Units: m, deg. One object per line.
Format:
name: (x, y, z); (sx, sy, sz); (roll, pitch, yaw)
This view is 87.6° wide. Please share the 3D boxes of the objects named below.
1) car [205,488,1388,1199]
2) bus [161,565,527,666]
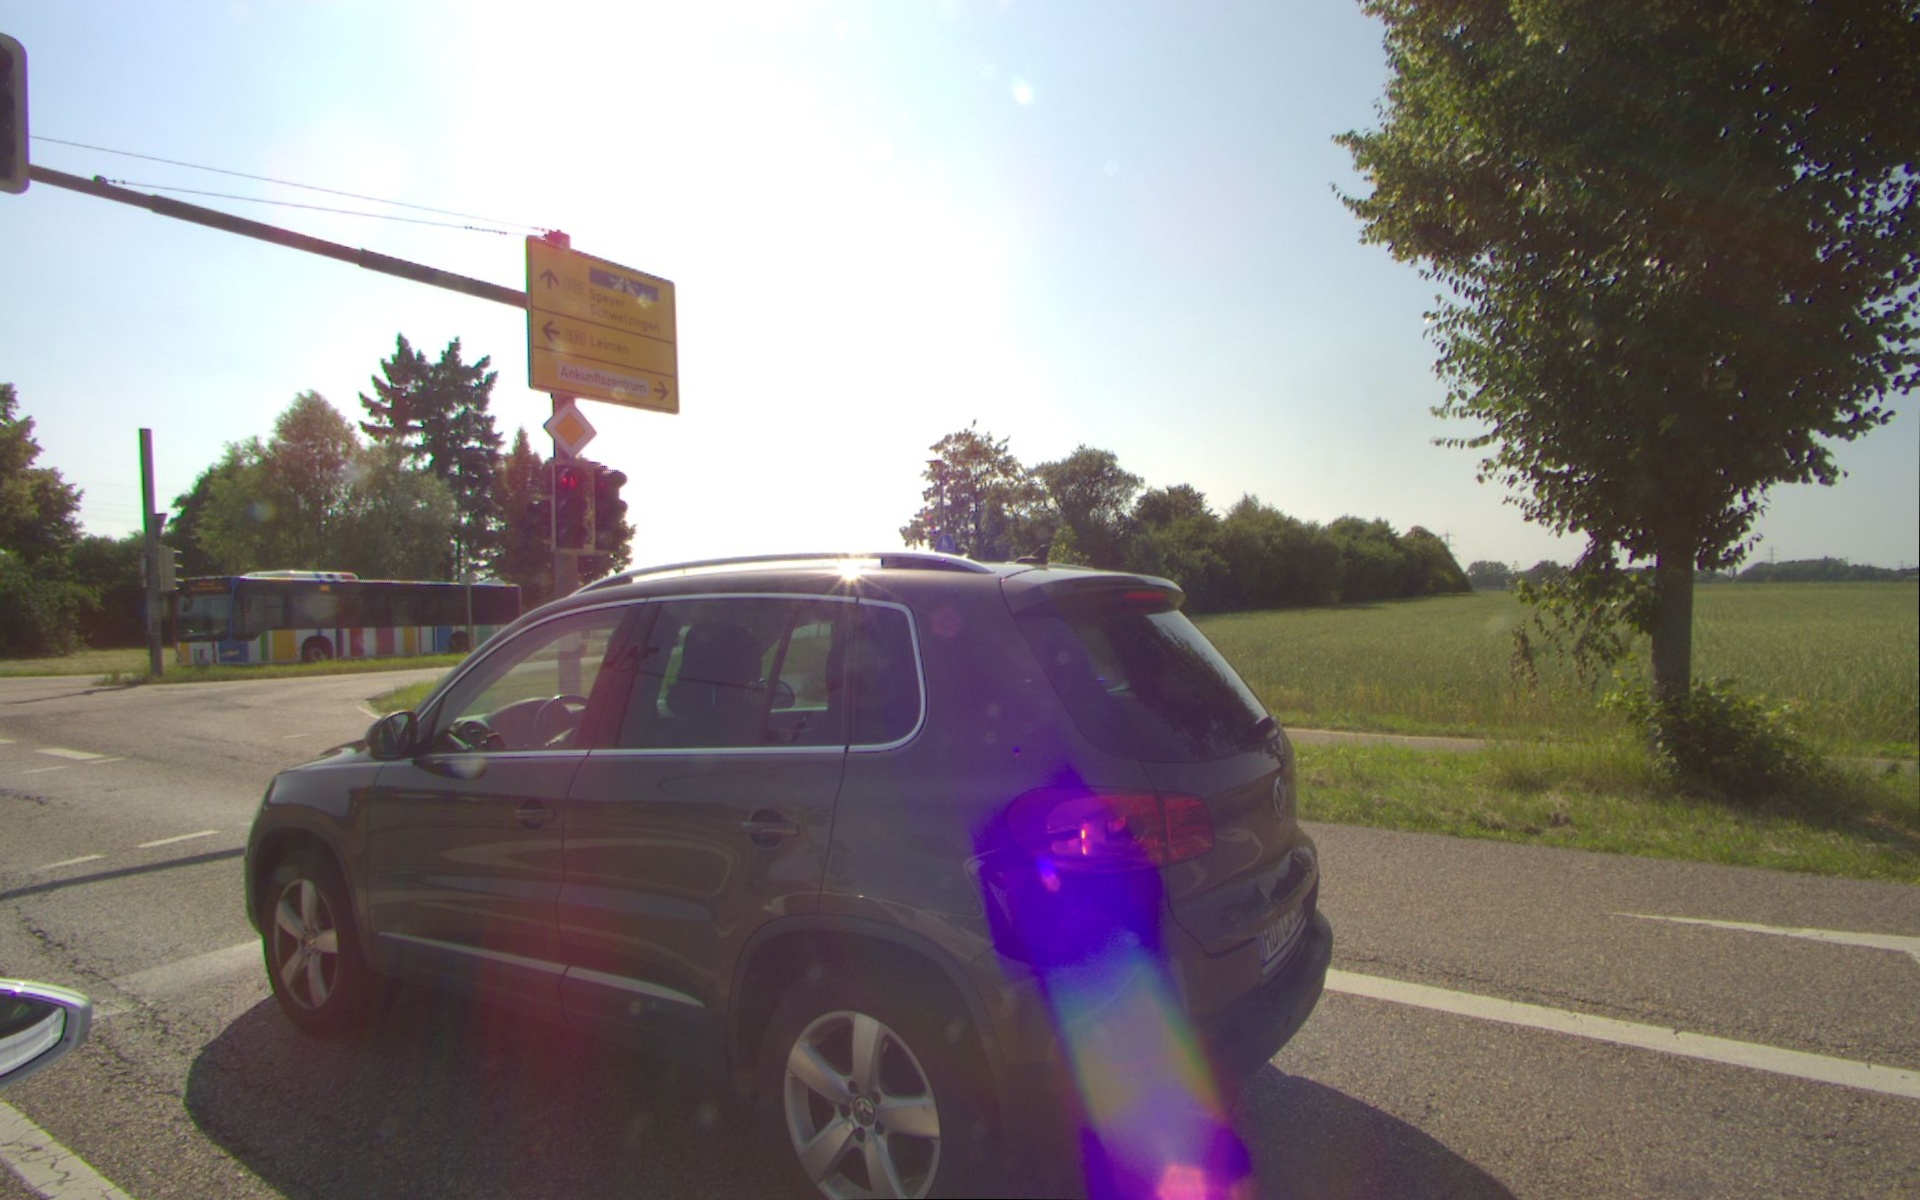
car: (-0.781, 0.692, 3.617); (4.086, 1.677, 1.753); (-1, -2, 32)
bus: (-20.651, 0.407, 35.166); (2.889, 2.916, 11.955); (-1, 0, 17)
